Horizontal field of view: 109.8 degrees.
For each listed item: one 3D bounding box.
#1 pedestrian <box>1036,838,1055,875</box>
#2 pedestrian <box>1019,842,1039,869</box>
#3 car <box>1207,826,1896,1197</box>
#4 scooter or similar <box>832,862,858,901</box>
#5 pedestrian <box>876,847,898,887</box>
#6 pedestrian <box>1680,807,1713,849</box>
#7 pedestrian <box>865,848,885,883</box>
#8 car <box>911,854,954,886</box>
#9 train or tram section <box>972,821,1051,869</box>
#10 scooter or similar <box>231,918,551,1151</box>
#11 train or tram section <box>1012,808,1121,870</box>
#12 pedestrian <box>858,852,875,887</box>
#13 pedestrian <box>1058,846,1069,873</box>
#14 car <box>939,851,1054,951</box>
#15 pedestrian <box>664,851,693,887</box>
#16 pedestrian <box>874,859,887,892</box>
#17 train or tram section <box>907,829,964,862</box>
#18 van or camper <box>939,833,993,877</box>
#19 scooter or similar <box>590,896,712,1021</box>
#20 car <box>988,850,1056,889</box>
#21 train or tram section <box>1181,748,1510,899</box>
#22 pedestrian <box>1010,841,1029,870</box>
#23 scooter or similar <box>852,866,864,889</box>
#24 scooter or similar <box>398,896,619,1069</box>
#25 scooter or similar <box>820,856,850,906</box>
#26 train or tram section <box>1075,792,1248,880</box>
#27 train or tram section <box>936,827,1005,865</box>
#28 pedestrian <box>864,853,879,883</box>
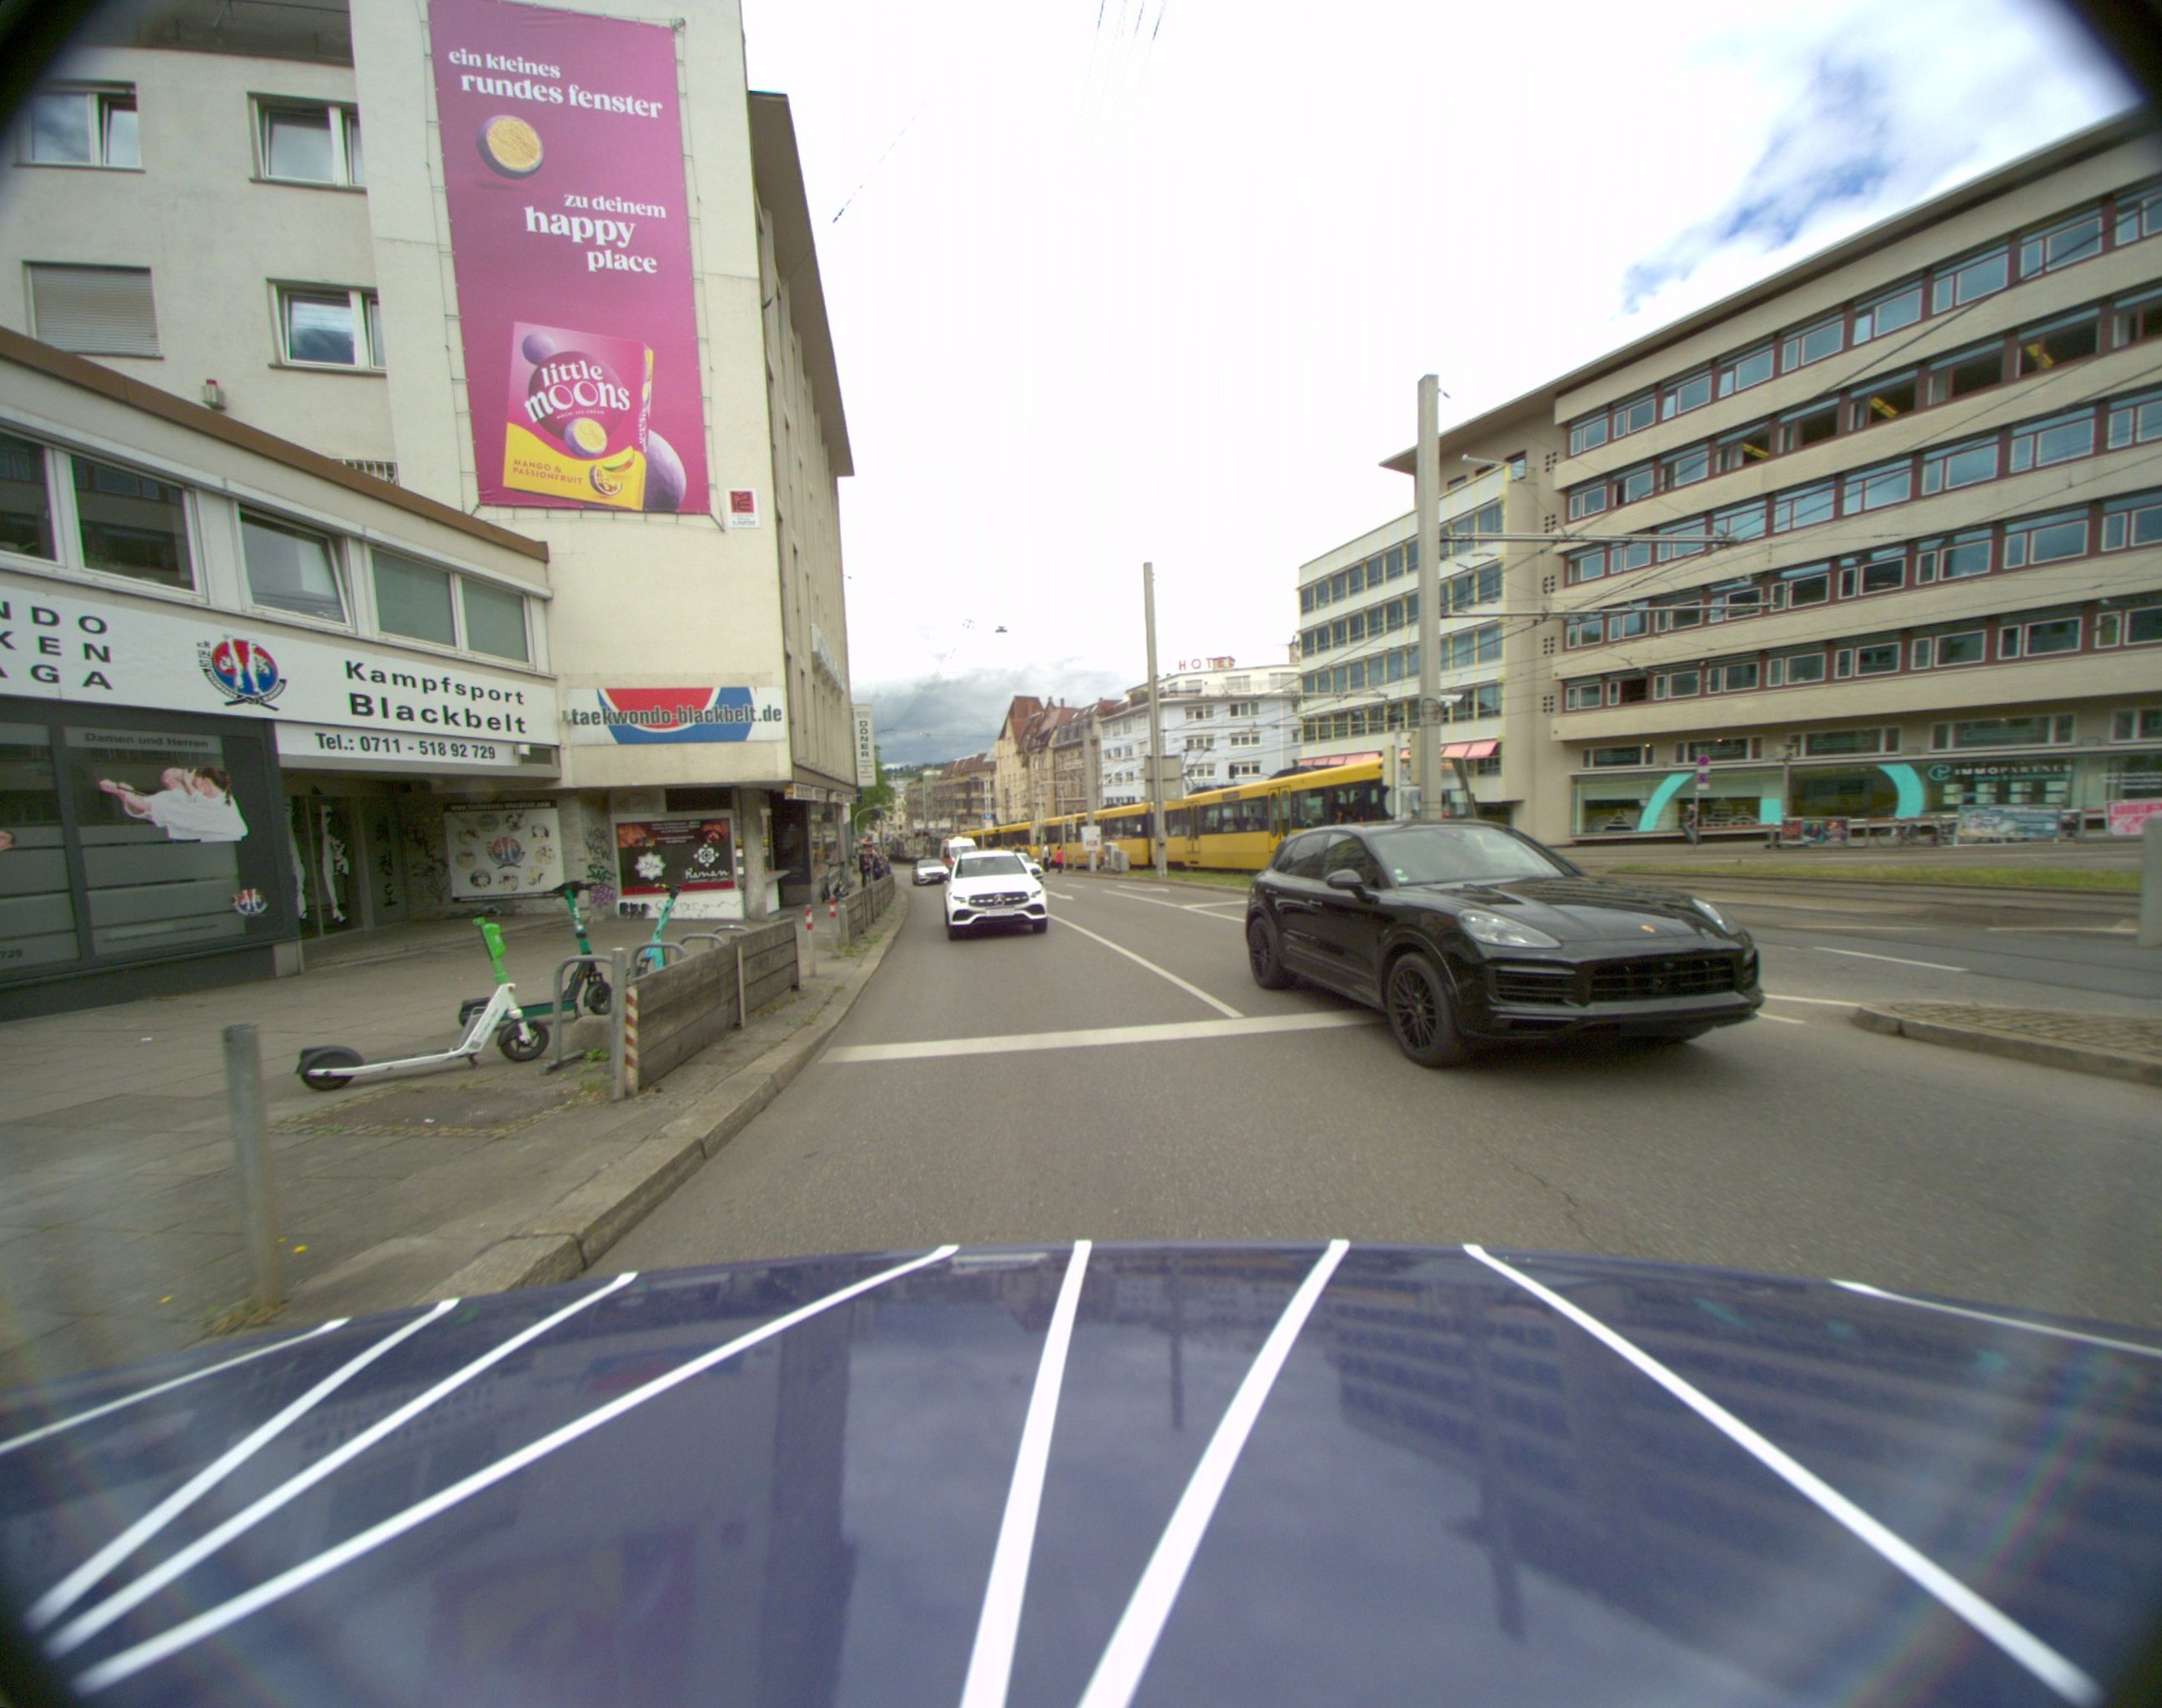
[{"bbox_3d":[-2.083,0.114,44.382,0.968,2.056,1.031,-2,5,0],"label":"pedestrian"},{"bbox_3d":[-3.539,0.103,51.840,1.121,1.672,1.039,-3,6,-19],"label":"pedestrian"},{"bbox_3d":[2.874,0.740,6.202,2.034,1.675,4.776,-4,1,-11],"label":"car"},{"bbox_3d":[-8.053,0.914,25.950,0.633,1.242,1.332,-3,1,-12],"label":"scooter or similar"},{"bbox_3d":[-10.474,0.695,40.996,0.950,2.050,0.777,5,-1,-15],"label":"pedestrian"},{"bbox_3d":[26.062,-1.106,32.180,0.761,1.698,0.782,-4,1,-26],"label":"pedestrian"},{"bbox_3d":[-11.362,0.639,41.922,0.740,1.784,0.654,-11,3,-14],"label":"pedestrian"},{"bbox_3d":[-8.547,0.873,43.479,1.672,1.521,3.993,-6,2,-20],"label":"car"},{"bbox_3d":[-6.378,-0.797,66.617,2.934,3.539,14.202,-5,3,-21],"label":"train or tram section"},{"bbox_3d":[-4.492,1.098,5.060,1.448,1.175,0.581,-4,1,-42],"label":"scooter or similar"},{"bbox_3d":[-1.477,-0.927,53.282,2.893,3.643,14.204,-5,2,-20],"label":"train or tram section"},{"bbox_3d":[-11.189,0.791,39.706,0.729,1.797,0.653,3,0,-13],"label":"pedestrian"},{"bbox_3d":[-0.988,0.320,43.439,0.578,1.456,0.675,-1,5,0],"label":"pedestrian"},{"bbox_3d":[-1.946,0.830,16.019,1.936,1.622,4.768,-4,1,-11],"label":"car"},{"bbox_3d":[-11.077,0.404,20.936,0.509,0.973,0.495,-3,1,-8],"label":"pedestrian"},{"bbox_3d":[-10.215,1.112,38.700,0.564,1.642,0.590,2,0,-15],"label":"pedestrian"},{"bbox_3d":[-17.944,-0.898,92.607,2.893,3.400,14.201,-6,2,-26],"label":"train or tram section"},{"bbox_3d":[-7.813,0.054,50.880,2.211,2.544,6.362,-5,2,-19],"label":"van or camper"},{"bbox_3d":[-4.604,1.088,8.166,1.013,1.175,0.375,-4,2,-42],"label":"scooter or similar"},{"bbox_3d":[-2.712,0.634,33.912,1.899,1.467,4.524,-4,1,-19],"label":"car"},{"bbox_3d":[7.520,-0.819,25.707,2.892,3.643,14.456,-2,1,-14],"label":"train or tram section"},{"bbox_3d":[-4.335,0.108,53.389,0.933,1.959,1.231,-3,4,-19],"label":"pedestrian"},{"bbox_3d":[-13.182,1.393,44.909,0.429,1.269,0.980,-3,1,-5],"label":"scooter or similar"},{"bbox_3d":[-4.917,1.036,6.579,1.448,1.247,0.555,-2,0,-42],"label":"scooter or similar"},{"bbox_3d":[-7.691,0.832,23.778,0.670,1.467,1.177,-3,1,-12],"label":"scooter or similar"},{"bbox_3d":[3.496,-0.788,39.441,2.893,3.643,14.205,-4,1,-20],"label":"train or tram section"},{"bbox_3d":[-11.853,-0.746,79.738,2.893,3.422,14.201,-6,2,-25],"label":"train or tram section"},{"bbox_3d":[-12.852,0.831,46.548,0.723,1.776,0.882,-5,2,-17],"label":"pedestrian"}]
